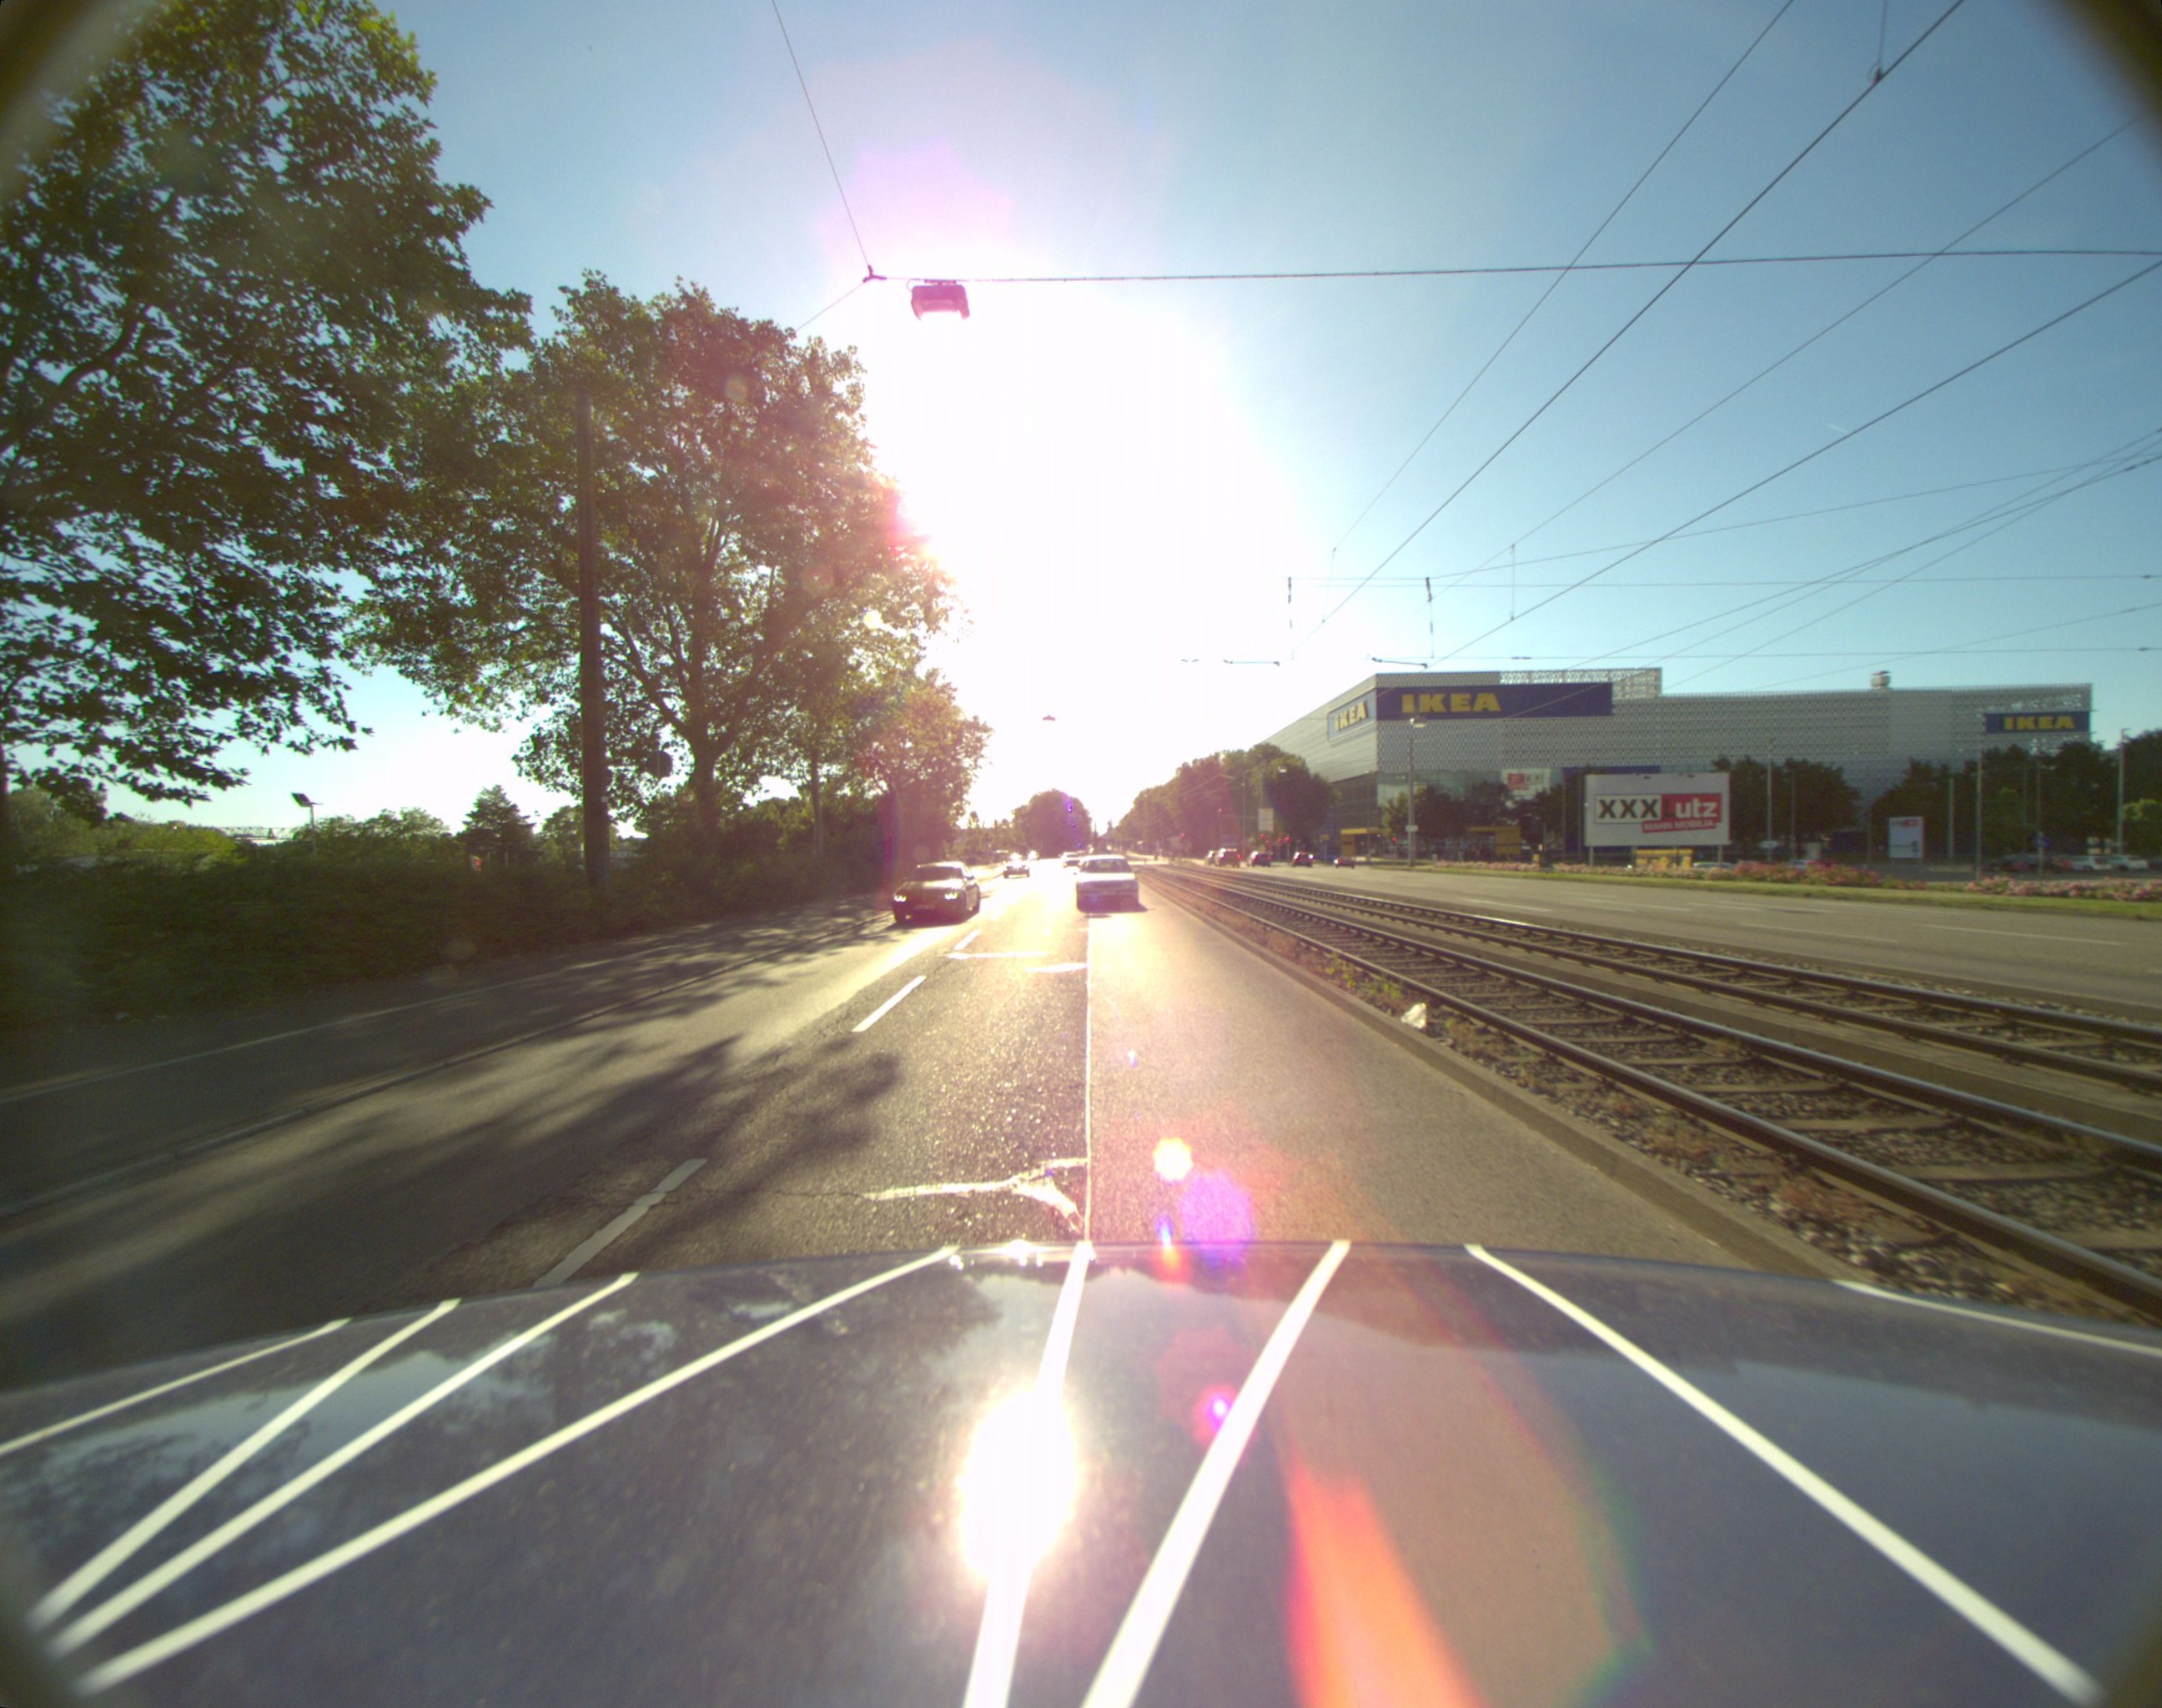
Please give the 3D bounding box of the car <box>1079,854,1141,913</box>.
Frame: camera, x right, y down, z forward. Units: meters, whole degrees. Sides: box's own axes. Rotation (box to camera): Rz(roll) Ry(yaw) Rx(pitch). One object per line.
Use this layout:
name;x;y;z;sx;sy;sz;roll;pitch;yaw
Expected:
car;0.800;0.791;21.970;1.602;1.440;3.799;-2;1;1

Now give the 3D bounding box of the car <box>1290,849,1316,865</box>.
car;21.689;0.254;74.472;1.938;1.468;4.134;1;1;9

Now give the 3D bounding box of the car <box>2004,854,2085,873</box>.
car;88.650;0.875;69.975;1.672;1.543;4.438;-4;0;-4

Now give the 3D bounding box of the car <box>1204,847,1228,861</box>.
car;13.662;-0.019;77.255;1.788;1.439;4.108;0;1;1

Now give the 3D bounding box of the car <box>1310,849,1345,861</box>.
car;33.749;0.159;104.199;4.252;1.489;2.016;1;2;6

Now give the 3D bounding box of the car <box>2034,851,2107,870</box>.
car;93.432;0.602;71.837;1.727;1.646;4.000;-1;1;1

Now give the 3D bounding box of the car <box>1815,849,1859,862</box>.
car;92.918;0.205;93.460;3.583;1.452;1.770;1;2;0

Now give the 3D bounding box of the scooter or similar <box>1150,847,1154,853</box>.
scooter or similar;15.392;-0.835;164.011;0.665;1.227;1.372;-2;1;1

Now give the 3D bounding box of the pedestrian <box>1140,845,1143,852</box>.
pedestrian;14.719;-1.388;184.232;0.763;1.700;0.678;-1;1;2

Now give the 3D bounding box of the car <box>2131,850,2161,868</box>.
car;101.390;0.493;70.631;1.998;1.646;4.000;-1;1;1

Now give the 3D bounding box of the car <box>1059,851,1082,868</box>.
car;-0.971;0.518;71.642;1.871;1.422;3.831;-4;0;3

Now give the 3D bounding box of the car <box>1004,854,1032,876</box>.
car;-4.415;0.727;53.406;1.857;1.415;3.978;-2;0;-4

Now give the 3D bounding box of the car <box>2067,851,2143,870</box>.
car;96.153;0.612;71.441;1.800;1.646;4.000;-1;1;1

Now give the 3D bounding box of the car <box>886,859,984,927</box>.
car;-3.821;0.947;20.688;1.871;1.459;4.584;-3;1;-2

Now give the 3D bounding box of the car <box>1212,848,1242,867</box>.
car;13.313;0.313;69.576;1.998;1.646;4.658;0;1;2

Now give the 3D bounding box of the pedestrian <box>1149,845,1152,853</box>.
pedestrian;15.364;-1.141;167.243;0.603;1.611;0.690;-3;1;5

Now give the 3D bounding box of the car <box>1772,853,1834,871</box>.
car;69.332;0.732;73.046;1.935;1.583;3.999;-4;0;-3

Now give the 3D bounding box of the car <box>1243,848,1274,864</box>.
car;16.889;0.198;72.439;1.861;1.452;4.137;-1;0;-1

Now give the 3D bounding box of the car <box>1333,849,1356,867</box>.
car;25.535;0.371;73.725;1.823;1.633;4.004;0;1;15

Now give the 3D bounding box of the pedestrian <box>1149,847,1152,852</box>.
pedestrian;15.628;-1.013;170.034;0.603;1.217;0.617;-3;1;5

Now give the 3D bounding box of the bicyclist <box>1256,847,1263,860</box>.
bicyclist;21.309;-0.025;90.646;0.589;1.514;0.751;-2;1;2
